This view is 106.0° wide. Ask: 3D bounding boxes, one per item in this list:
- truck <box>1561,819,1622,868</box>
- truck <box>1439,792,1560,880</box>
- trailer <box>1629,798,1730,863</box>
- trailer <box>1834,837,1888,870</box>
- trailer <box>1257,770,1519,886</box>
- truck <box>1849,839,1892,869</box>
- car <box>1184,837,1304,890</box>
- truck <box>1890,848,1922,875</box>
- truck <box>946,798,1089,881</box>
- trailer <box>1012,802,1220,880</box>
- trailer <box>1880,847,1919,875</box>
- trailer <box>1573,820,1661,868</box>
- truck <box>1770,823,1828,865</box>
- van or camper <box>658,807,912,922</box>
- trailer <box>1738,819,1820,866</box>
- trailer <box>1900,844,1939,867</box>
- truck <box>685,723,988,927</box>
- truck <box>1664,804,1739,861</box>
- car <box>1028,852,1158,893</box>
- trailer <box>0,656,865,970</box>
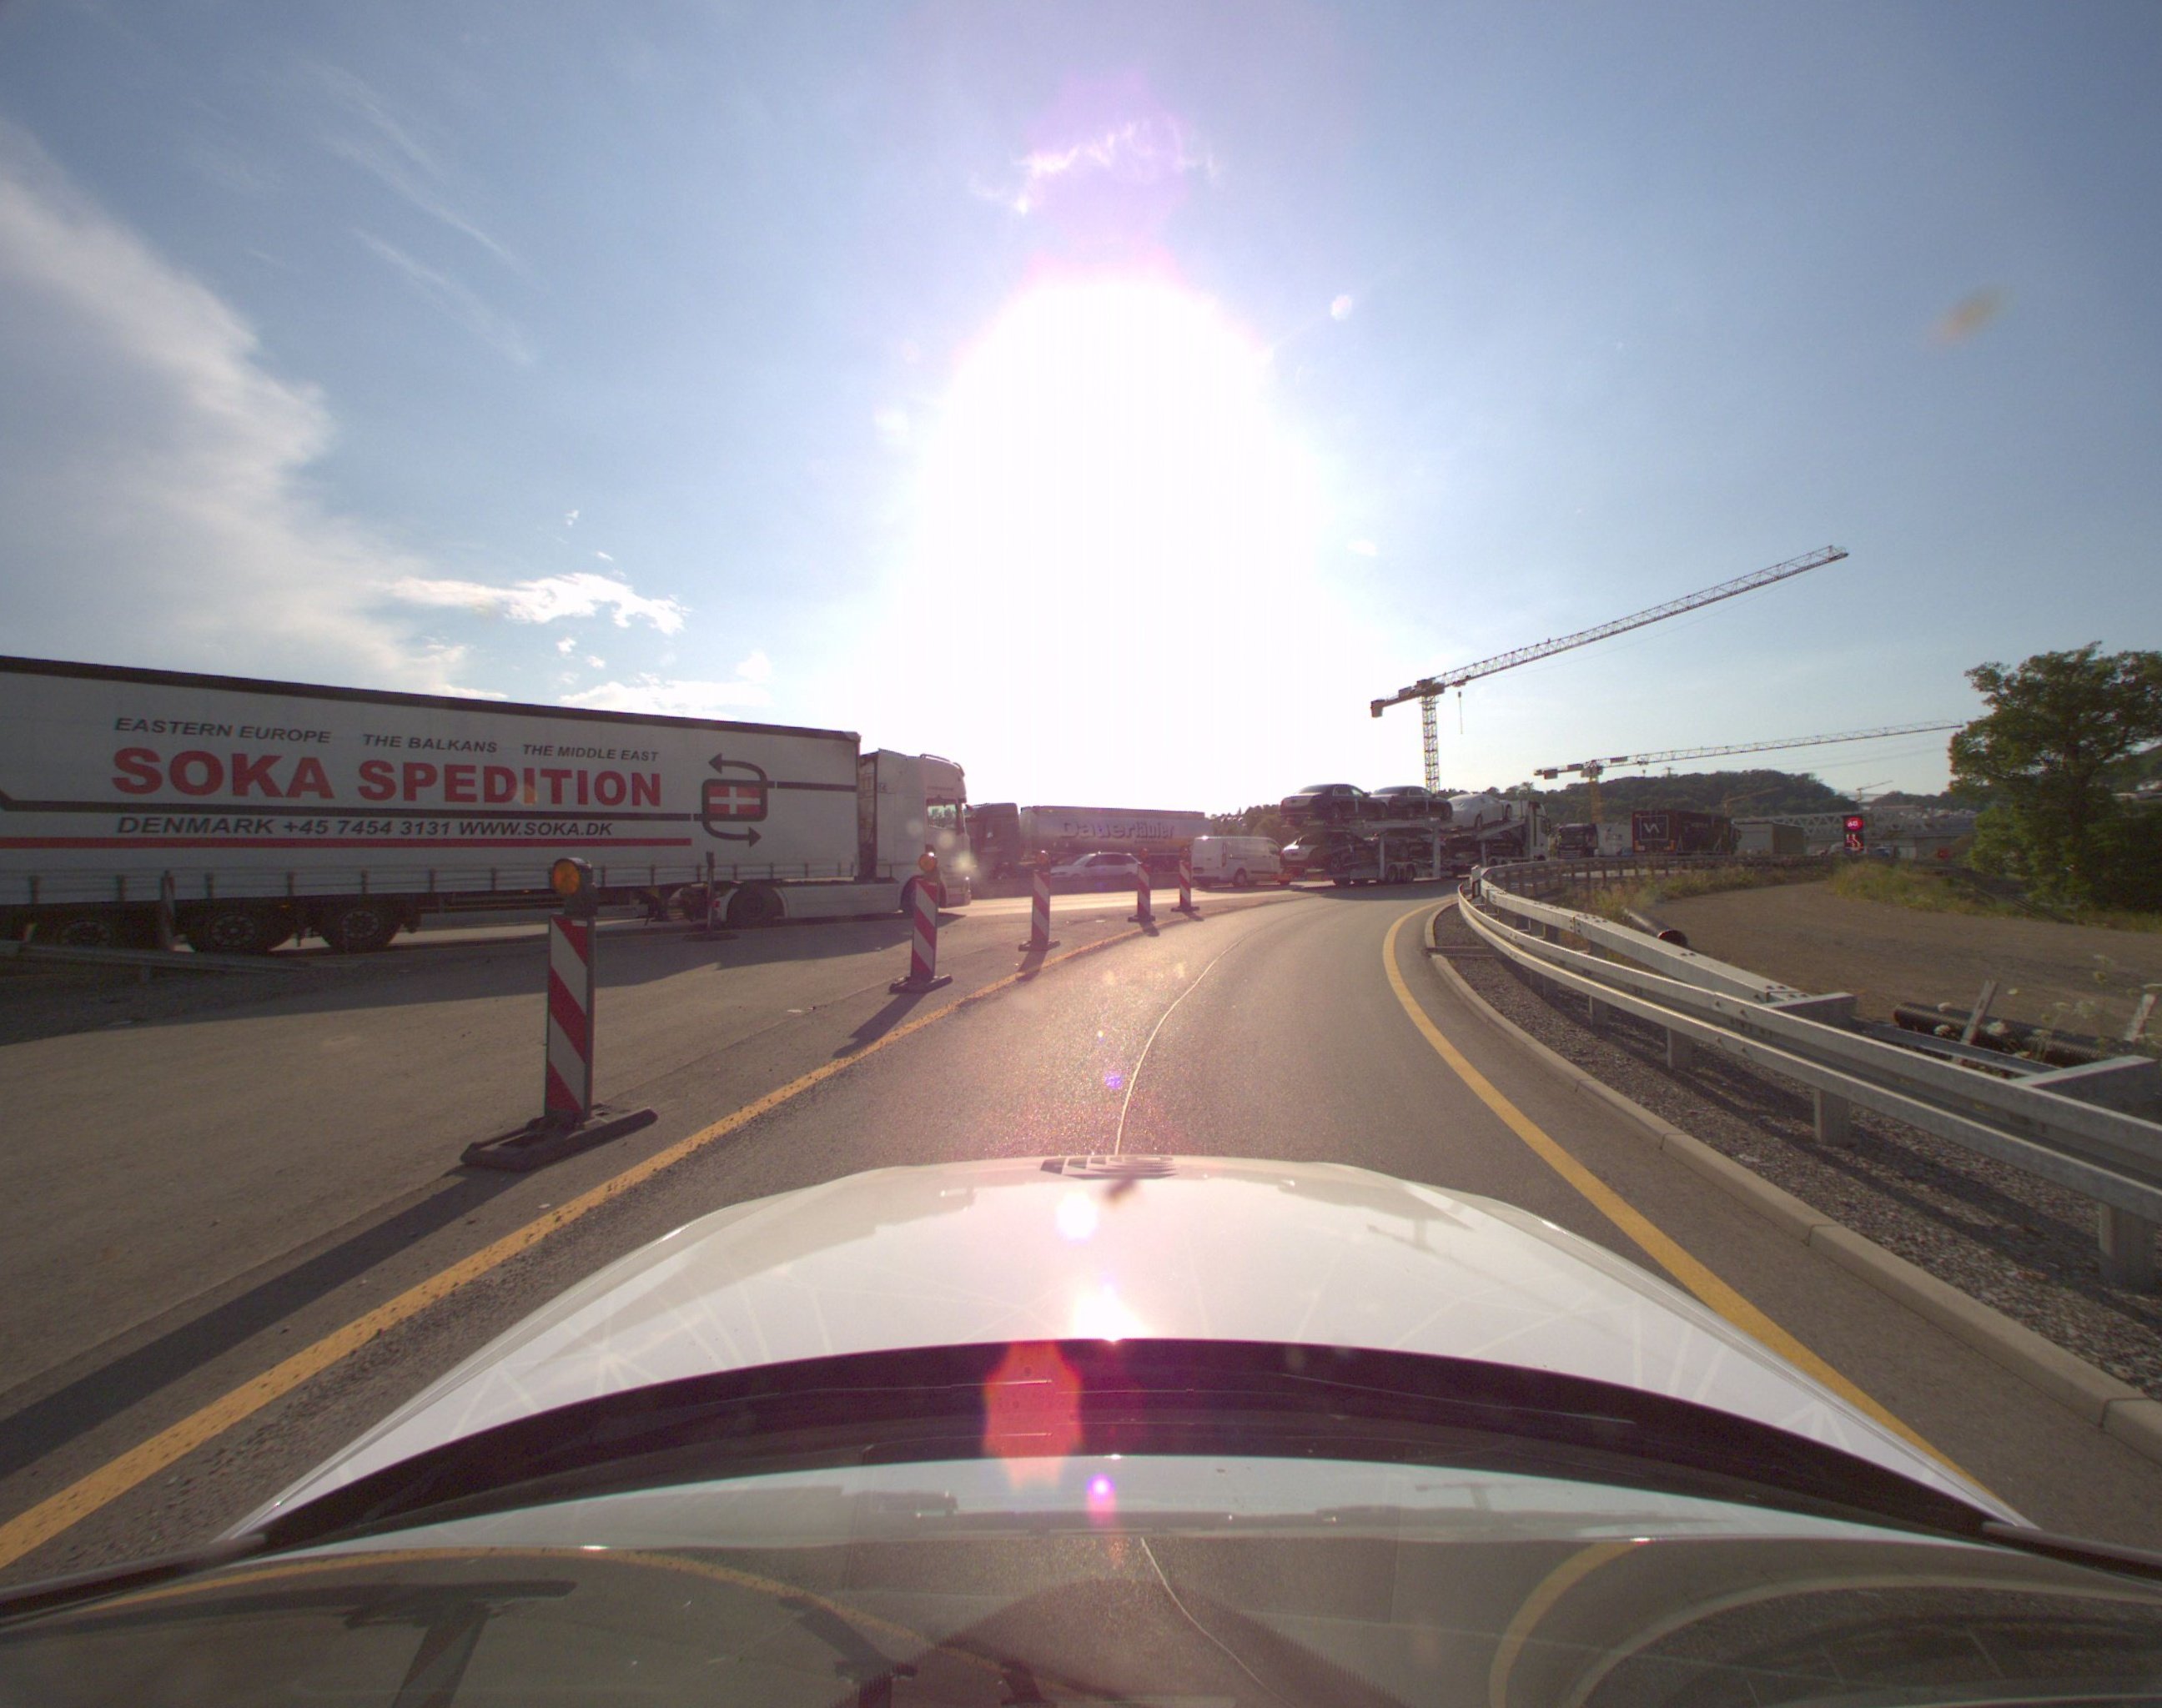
[{"bbox_3d":[45.703,-0.855,72.826,6.160,4.067,2.605,1,-4,-39],"label":"truck"},{"bbox_3d":[20.789,-0.764,40.310,6.658,3.997,2.824,1,-2,-40],"label":"truck"},{"bbox_3d":[42.747,-1.500,57.996,10.845,4.092,2.934,1,-3,-39],"label":"trailer"},{"bbox_3d":[102.614,0.040,107.020,14.819,3.997,3.356,1,-2,-40],"label":"trailer"},{"bbox_3d":[13.572,-0.803,34.330,15.825,3.997,2.833,1,-2,-40],"label":"trailer"},{"bbox_3d":[108.579,0.079,111.982,6.657,3.997,3.361,1,-2,-40],"label":"truck"},{"bbox_3d":[6.634,0.339,32.790,5.003,1.981,2.012,0,0,-39],"label":"car"},{"bbox_3d":[137.733,1.241,135.988,6.657,4.286,3.071,1,-2,-40],"label":"truck"},{"bbox_3d":[-2.552,-0.512,33.945,5.716,3.135,2.122,1,-4,-40],"label":"truck"},{"bbox_3d":[1.970,-0.467,37.767,11.037,3.135,2.122,1,-4,-40],"label":"trailer"},{"bbox_3d":[131.908,1.180,131.109,14.323,4.315,3.077,1,-2,-40],"label":"trailer"},{"bbox_3d":[50.858,-0.808,76.978,14.148,4.067,2.605,1,-4,-39],"label":"trailer"},{"bbox_3d":[72.586,-0.891,82.337,6.657,3.997,3.315,1,-2,-40],"label":"truck"},{"bbox_3d":[-7.578,0.281,21.333,5.933,2.620,1.976,1,-2,-40],"label":"van or camper"},{"bbox_3d":[65.705,-0.960,76.472,14.819,3.997,3.356,1,-2,-40],"label":"trailer"},{"bbox_3d":[161.609,0.365,156.948,14.323,4.315,4.062,1,-2,-40],"label":"trailer"},{"bbox_3d":[-5.326,-0.503,18.354,6.042,3.879,2.459,1,-2,-40],"label":"truck"},{"bbox_3d":[46.494,-1.480,60.968,6.656,3.997,2.861,1,-2,-39],"label":"truck"},{"bbox_3d":[0.534,0.686,32.171,5.003,1.500,2.012,0,0,-39],"label":"car"},{"bbox_3d":[-10.634,-0.436,13.888,13.700,3.879,2.459,1,-2,-40],"label":"trailer"}]
